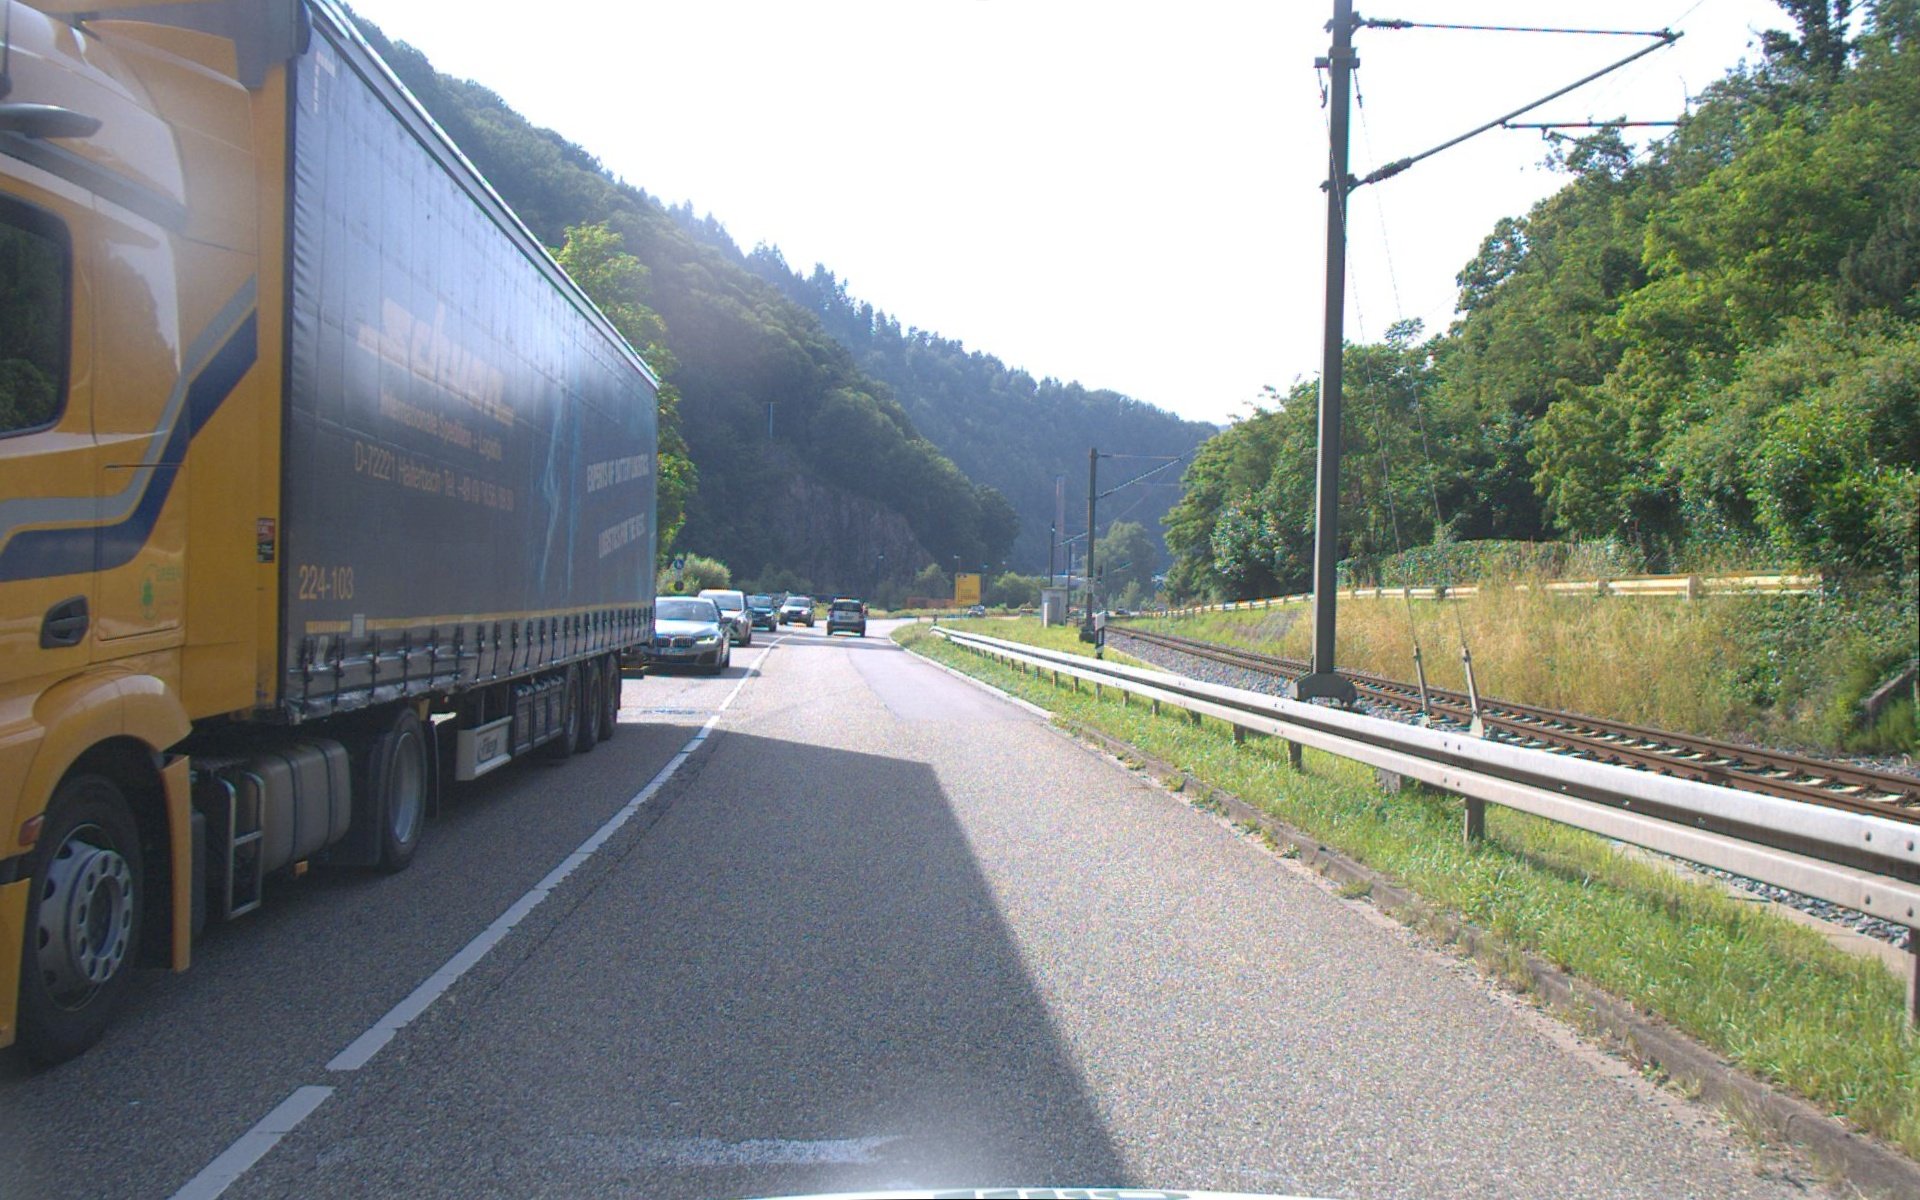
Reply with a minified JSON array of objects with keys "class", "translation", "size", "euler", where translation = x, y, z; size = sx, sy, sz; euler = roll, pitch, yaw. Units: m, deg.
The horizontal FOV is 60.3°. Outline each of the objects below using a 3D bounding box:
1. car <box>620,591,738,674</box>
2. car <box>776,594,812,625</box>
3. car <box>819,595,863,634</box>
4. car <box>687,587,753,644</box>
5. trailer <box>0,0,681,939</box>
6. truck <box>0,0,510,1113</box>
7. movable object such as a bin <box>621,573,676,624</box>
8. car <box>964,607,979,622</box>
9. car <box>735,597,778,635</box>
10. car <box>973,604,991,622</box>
[{"class":"car","translation":[-5.648,0.625,33.729],"size":[1.800,1.522,4.932],"euler":[2,0,-3]},{"class":"car","translation":[-9.819,0.553,97.859],"size":[1.954,1.657,4.503],"euler":[3,0,-5]},{"class":"car","translation":[-5.505,0.676,76.654],"size":[1.954,1.754,3.986],"euler":[0,0,-4]},{"class":"car","translation":[-7.435,0.464,51.655],"size":[1.738,1.699,4.642],"euler":[1,0,-5]},{"class":"trailer","translation":[-4.414,-0.684,13.474],"size":[2.800,4.083,13.660],"euler":[0,0,-4]},{"class":"truck","translation":[-4.030,-0.679,7.107],"size":[2.686,4.099,6.408],"euler":[0,0,-3]},{"class":"movable object such as a bin","translation":[-25.412,-0.055,135.394],"size":[2.644,4.016,9.988],"euler":[0,-1,-1]},{"class":"car","translation":[1.523,1.933,218.041],"size":[1.813,1.815,4.685],"euler":[3,0,2]},{"class":"car","translation":[-9.282,0.706,75.774],"size":[1.764,1.583,4.326],"euler":[3,0,-5]},{"class":"car","translation":[2.537,1.477,189.441],"size":[1.952,2.049,4.001],"euler":[0,0,2]}]
